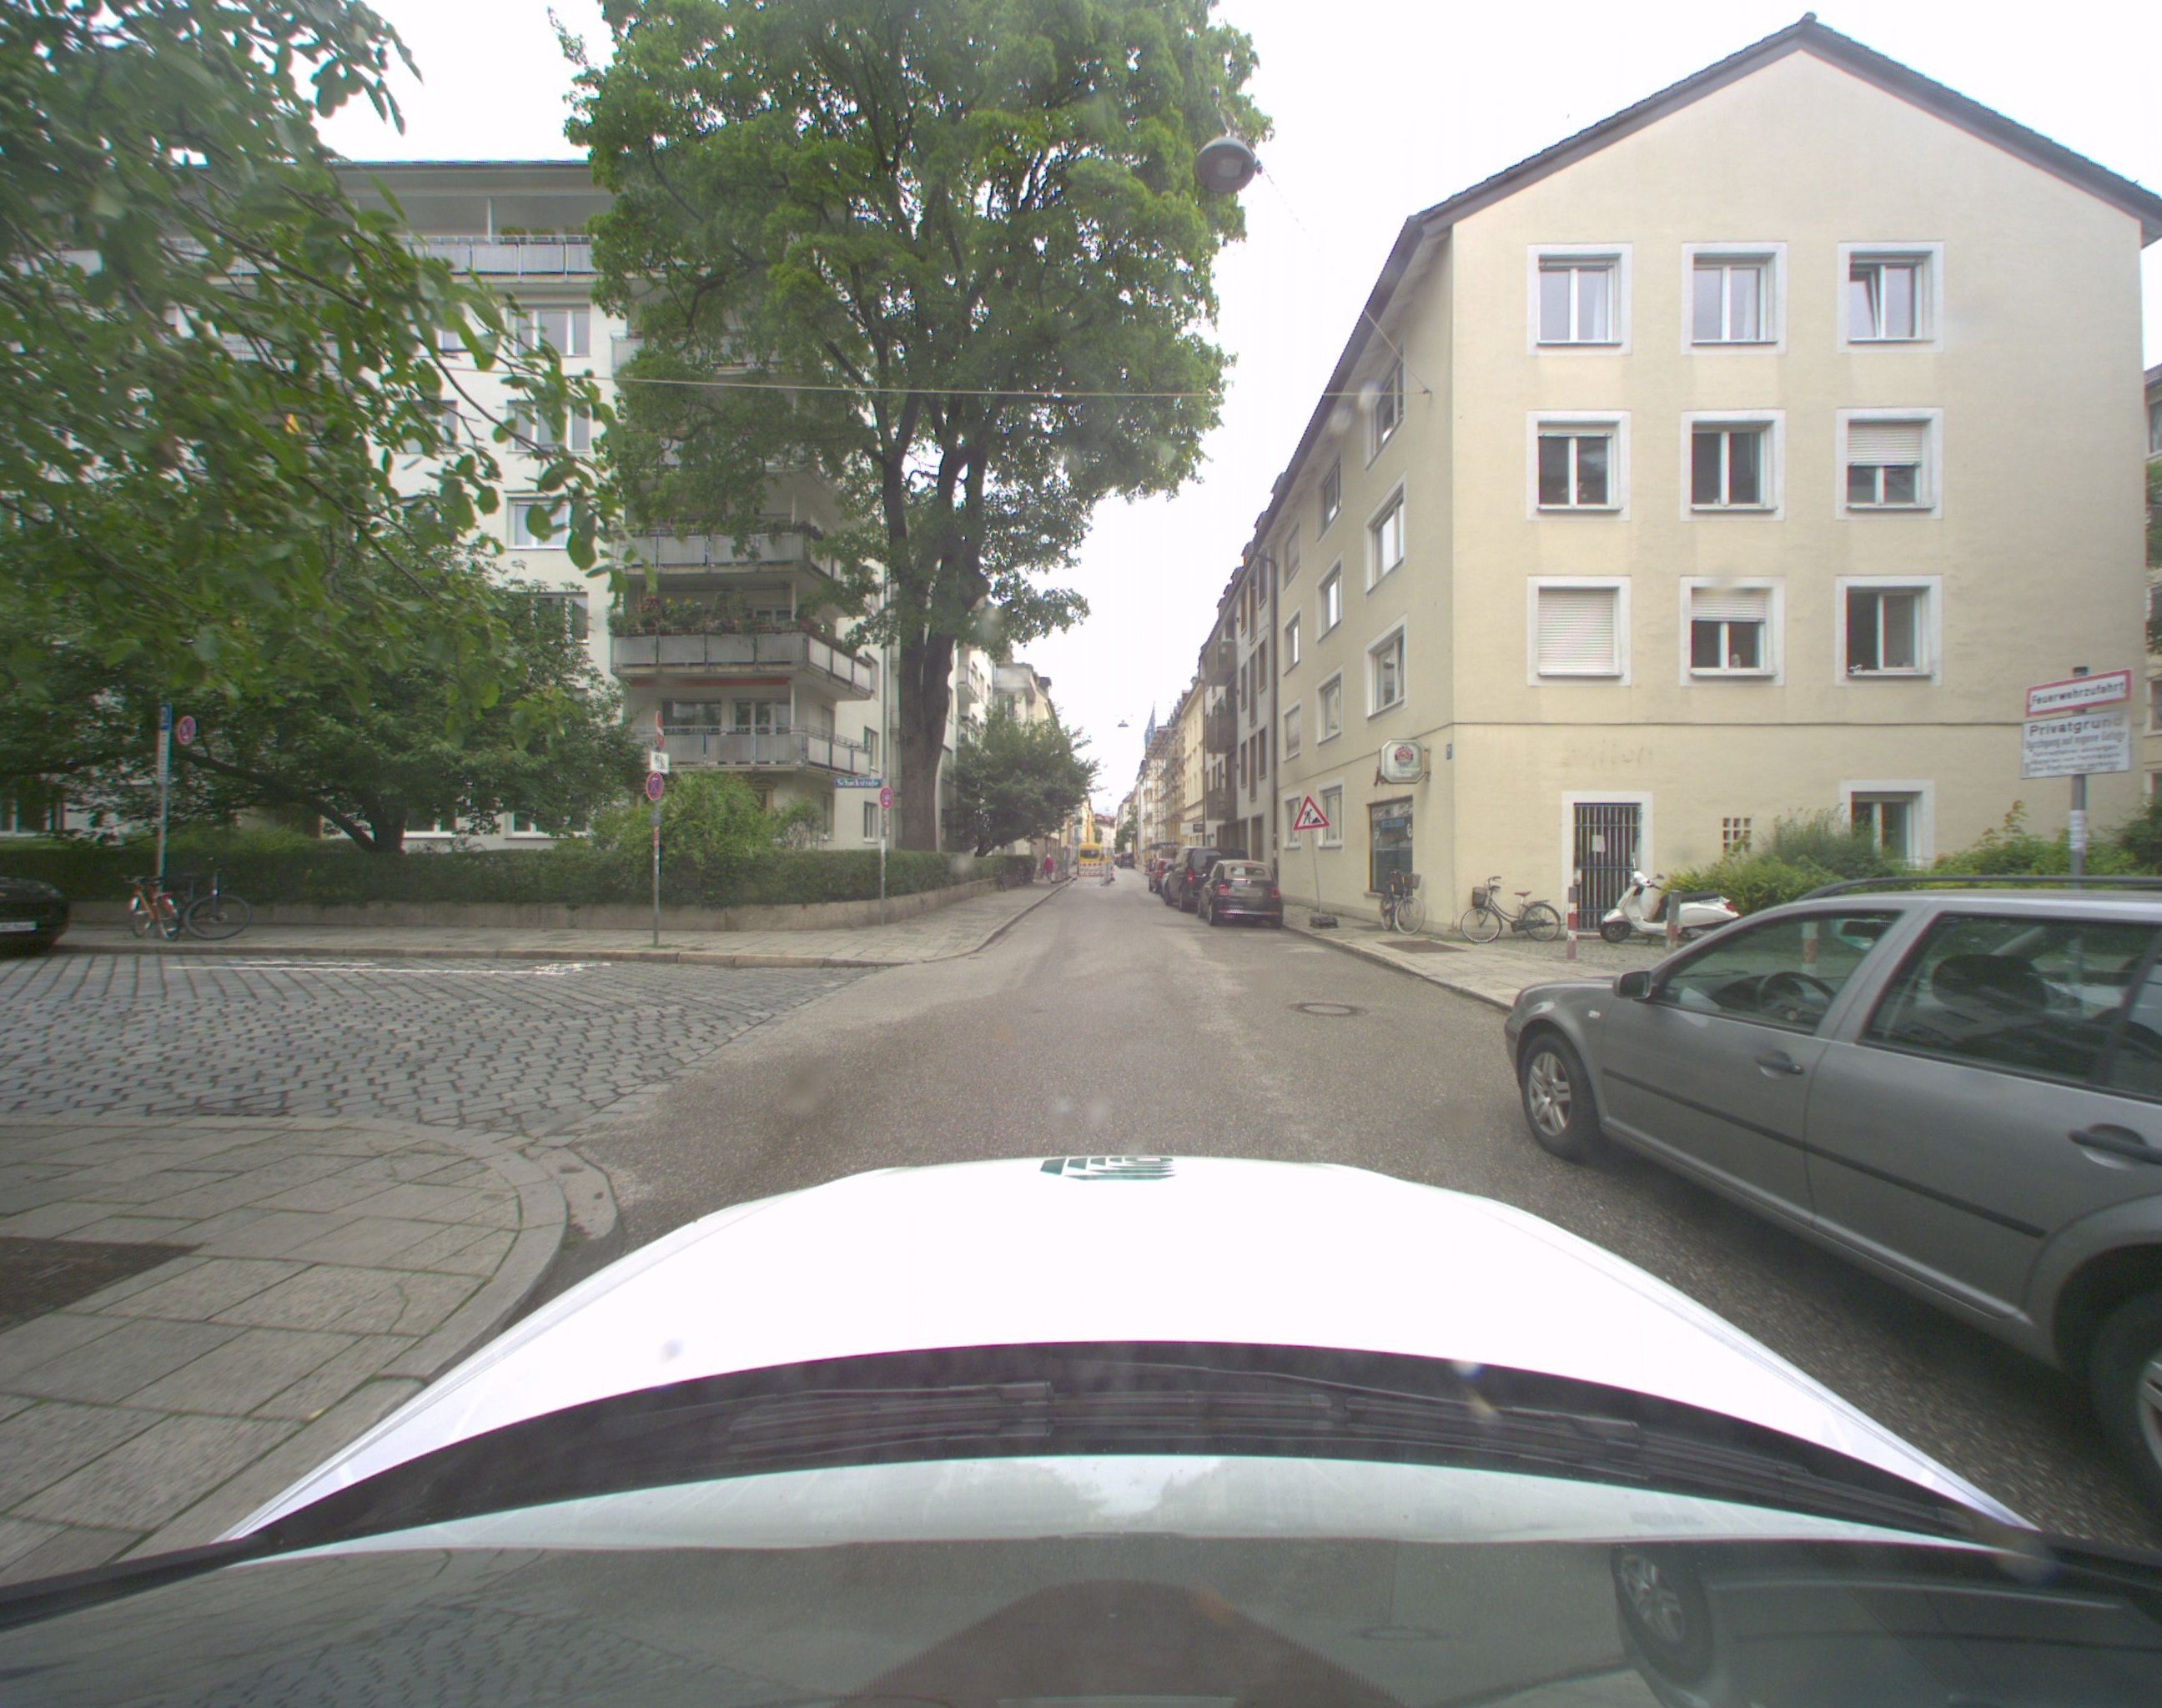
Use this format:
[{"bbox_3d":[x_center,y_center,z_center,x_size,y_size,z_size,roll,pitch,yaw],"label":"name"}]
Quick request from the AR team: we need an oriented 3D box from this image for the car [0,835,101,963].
[{"bbox_3d":[-15.799,0.562,10.540,4.027,1.645,1.765,0,-2,1],"label":"car"}]

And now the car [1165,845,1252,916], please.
[{"bbox_3d":[3.652,0.717,23.932,1.796,1.820,3.999,4,0,-1],"label":"car"}]

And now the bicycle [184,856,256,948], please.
[{"bbox_3d":[-13.399,0.688,12.647,2.277,1.243,0.693,3,2,42],"label":"bicycle"}]

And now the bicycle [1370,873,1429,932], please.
[{"bbox_3d":[6.035,0.899,15.512,0.472,1.026,1.706,-2,-1,2],"label":"bicycle"}]

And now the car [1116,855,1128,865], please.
[{"bbox_3d":[6.495,0.971,130.015,1.794,1.614,4.002,0,0,2],"label":"car"}]

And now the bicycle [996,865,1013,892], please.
[{"bbox_3d":[-3.022,0.958,32.286,0.413,1.020,1.854,-1,-1,1],"label":"bicycle"}]

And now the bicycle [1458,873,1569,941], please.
[{"bbox_3d":[7.079,0.860,13.358,1.531,1.026,0.475,-2,0,-1],"label":"bicycle"}]

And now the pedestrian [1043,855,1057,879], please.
[{"bbox_3d":[-1.869,0.787,49.533,0.753,1.491,0.831,-1,-1,1],"label":"pedestrian"}]

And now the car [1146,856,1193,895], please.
[{"bbox_3d":[3.834,0.912,35.815,1.630,1.515,3.830,4,0,1],"label":"car"}]

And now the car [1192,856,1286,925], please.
[{"bbox_3d":[3.692,0.798,19.568,1.618,1.487,3.810,1,0,2],"label":"car"}]

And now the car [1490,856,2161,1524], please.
[{"bbox_3d":[3.227,0.739,2.737,1.739,1.445,4.000,0,0,0],"label":"car"}]

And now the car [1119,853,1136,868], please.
[{"bbox_3d":[5.760,0.836,101.573,1.795,1.712,3.826,4,0,0],"label":"car"}]

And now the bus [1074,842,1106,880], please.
[{"bbox_3d":[0.822,0.612,69.662,2.583,3.102,6.308,-1,-1,2],"label":"bus"}]

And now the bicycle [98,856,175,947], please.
[{"bbox_3d":[-14.351,0.672,12.411,0.591,1.243,2.139,0,1,-45],"label":"bicycle"}]

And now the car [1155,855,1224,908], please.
[{"bbox_3d":[3.649,0.881,28.028,1.795,1.568,4.000,4,0,0],"label":"car"}]

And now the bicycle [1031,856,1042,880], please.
[{"bbox_3d":[-2.772,0.864,50.633,0.512,1.418,1.934,-1,-1,1],"label":"bicycle"}]

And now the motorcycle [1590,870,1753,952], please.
[{"bbox_3d":[8.887,0.816,12.327,0.626,1.108,1.905,1,0,-41],"label":"motorcycle"}]

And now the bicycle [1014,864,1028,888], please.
[{"bbox_3d":[-2.783,0.991,37.822,0.444,1.073,2.467,-1,-1,0],"label":"bicycle"}]

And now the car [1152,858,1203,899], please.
[{"bbox_3d":[3.736,0.910,32.041,1.558,1.434,3.415,4,0,0],"label":"car"}]
